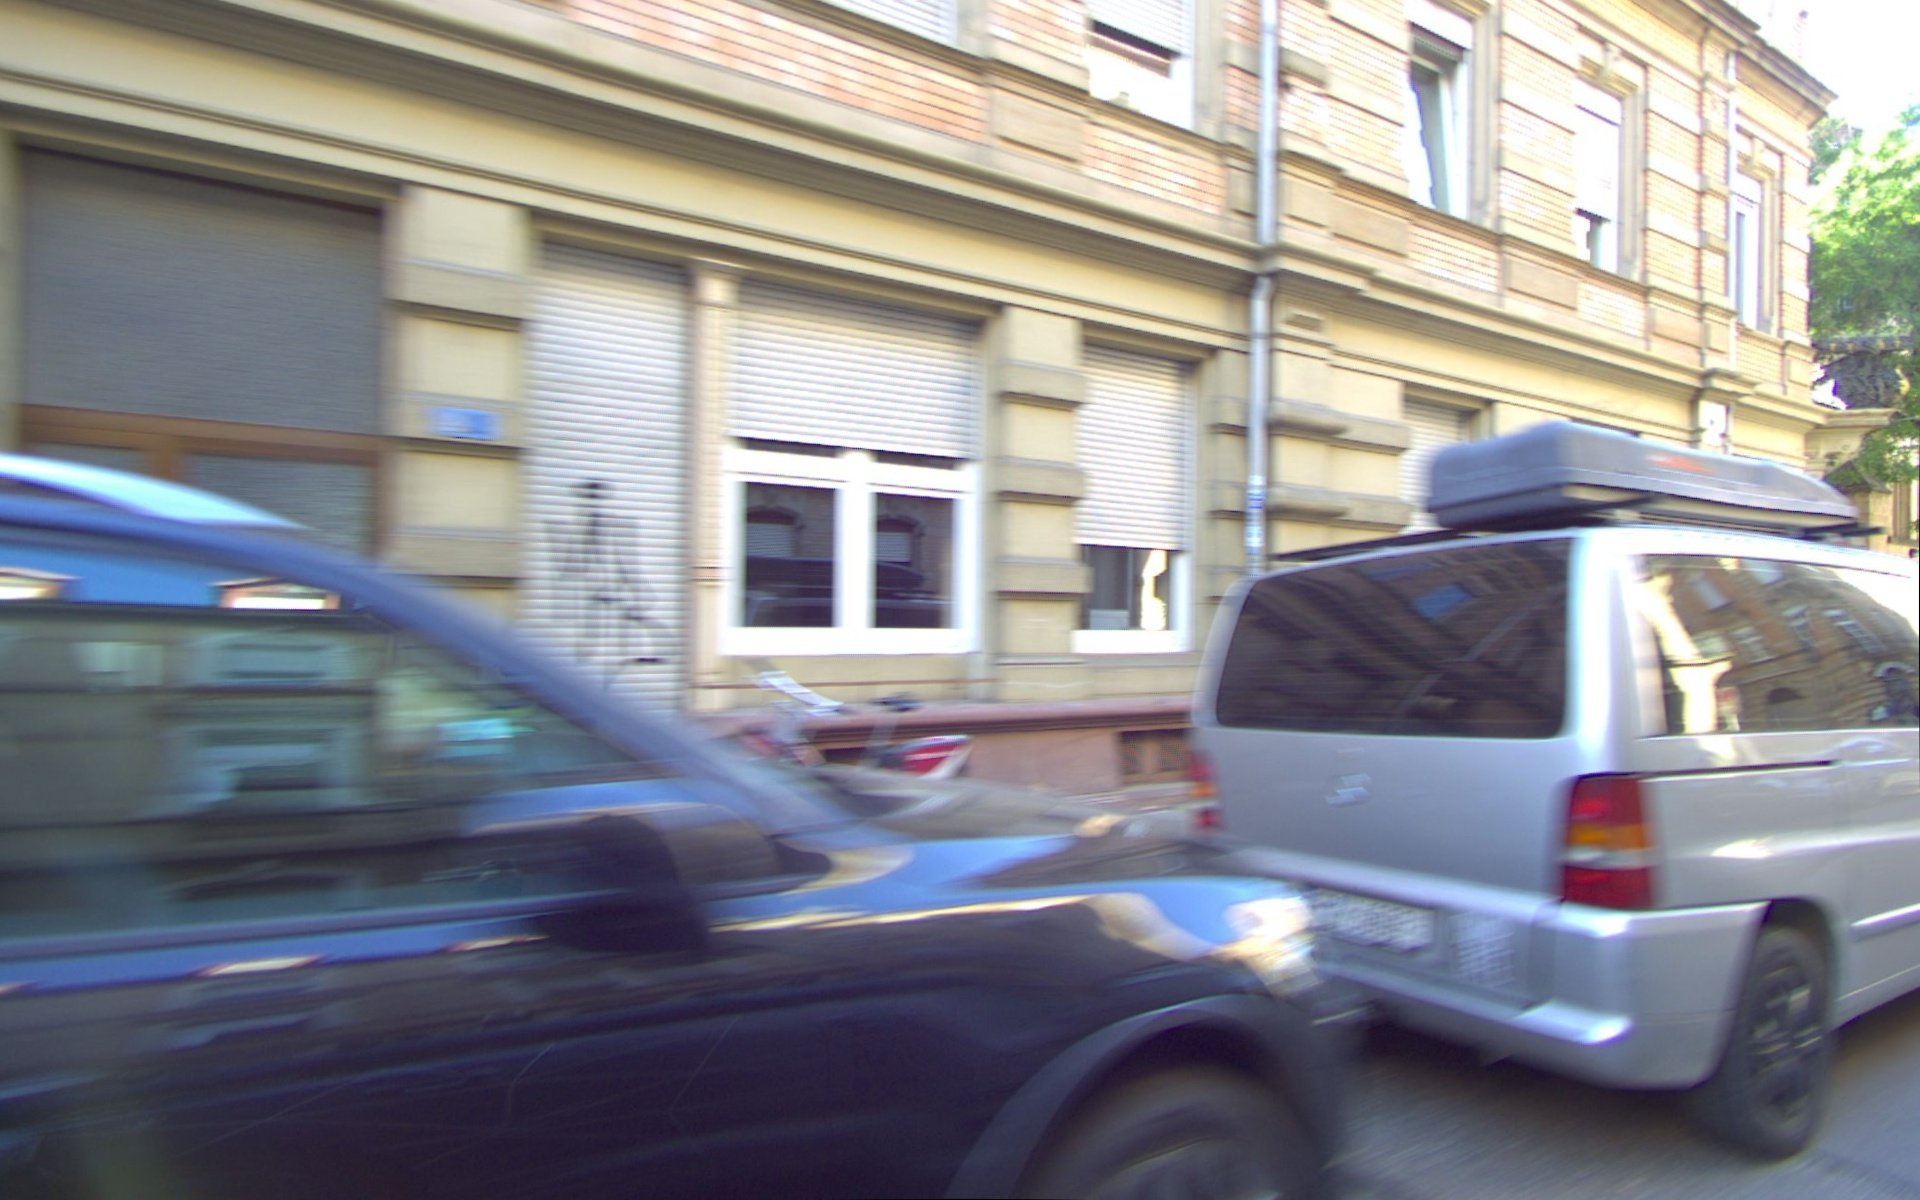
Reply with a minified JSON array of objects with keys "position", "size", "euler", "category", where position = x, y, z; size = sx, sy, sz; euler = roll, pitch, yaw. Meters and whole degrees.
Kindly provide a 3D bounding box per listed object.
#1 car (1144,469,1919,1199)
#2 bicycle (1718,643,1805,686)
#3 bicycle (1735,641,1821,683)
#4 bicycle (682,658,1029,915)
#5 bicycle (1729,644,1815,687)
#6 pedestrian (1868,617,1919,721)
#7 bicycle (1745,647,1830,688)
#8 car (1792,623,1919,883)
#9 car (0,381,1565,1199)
[{"position":[3.193,0.624,4.421],"size":[4.554,1.808,1.883],"euler":[1,0,-30],"category":"car"},{"position":[21.514,1.707,26.992],"size":[0.528,1.068,1.767],"euler":[0,-1,-31],"category":"bicycle"},{"position":[22.386,1.683,27.521],"size":[0.473,1.068,1.767],"euler":[0,-1,-31],"category":"bicycle"},{"position":[-0.547,0.928,5.500],"size":[1.764,1.140,0.663],"euler":[1,2,-30],"category":"bicycle"},{"position":[21.990,1.761,27.233],"size":[0.473,1.068,1.767],"euler":[0,-1,-31],"category":"bicycle"},{"position":[14.929,1.073,15.974],"size":[0.754,1.601,0.660],"euler":[1,0,-44],"category":"pedestrian"},{"position":[22.957,1.865,27.913],"size":[0.473,1.068,1.767],"euler":[0,-1,-31],"category":"bicycle"},{"position":[7.150,0.912,6.453],"size":[3.832,1.439,1.665],"euler":[1,0,-32],"category":"car"},{"position":[-1.177,0.628,1.693],"size":[4.553,1.646,1.779],"euler":[1,0,-30],"category":"car"}]
